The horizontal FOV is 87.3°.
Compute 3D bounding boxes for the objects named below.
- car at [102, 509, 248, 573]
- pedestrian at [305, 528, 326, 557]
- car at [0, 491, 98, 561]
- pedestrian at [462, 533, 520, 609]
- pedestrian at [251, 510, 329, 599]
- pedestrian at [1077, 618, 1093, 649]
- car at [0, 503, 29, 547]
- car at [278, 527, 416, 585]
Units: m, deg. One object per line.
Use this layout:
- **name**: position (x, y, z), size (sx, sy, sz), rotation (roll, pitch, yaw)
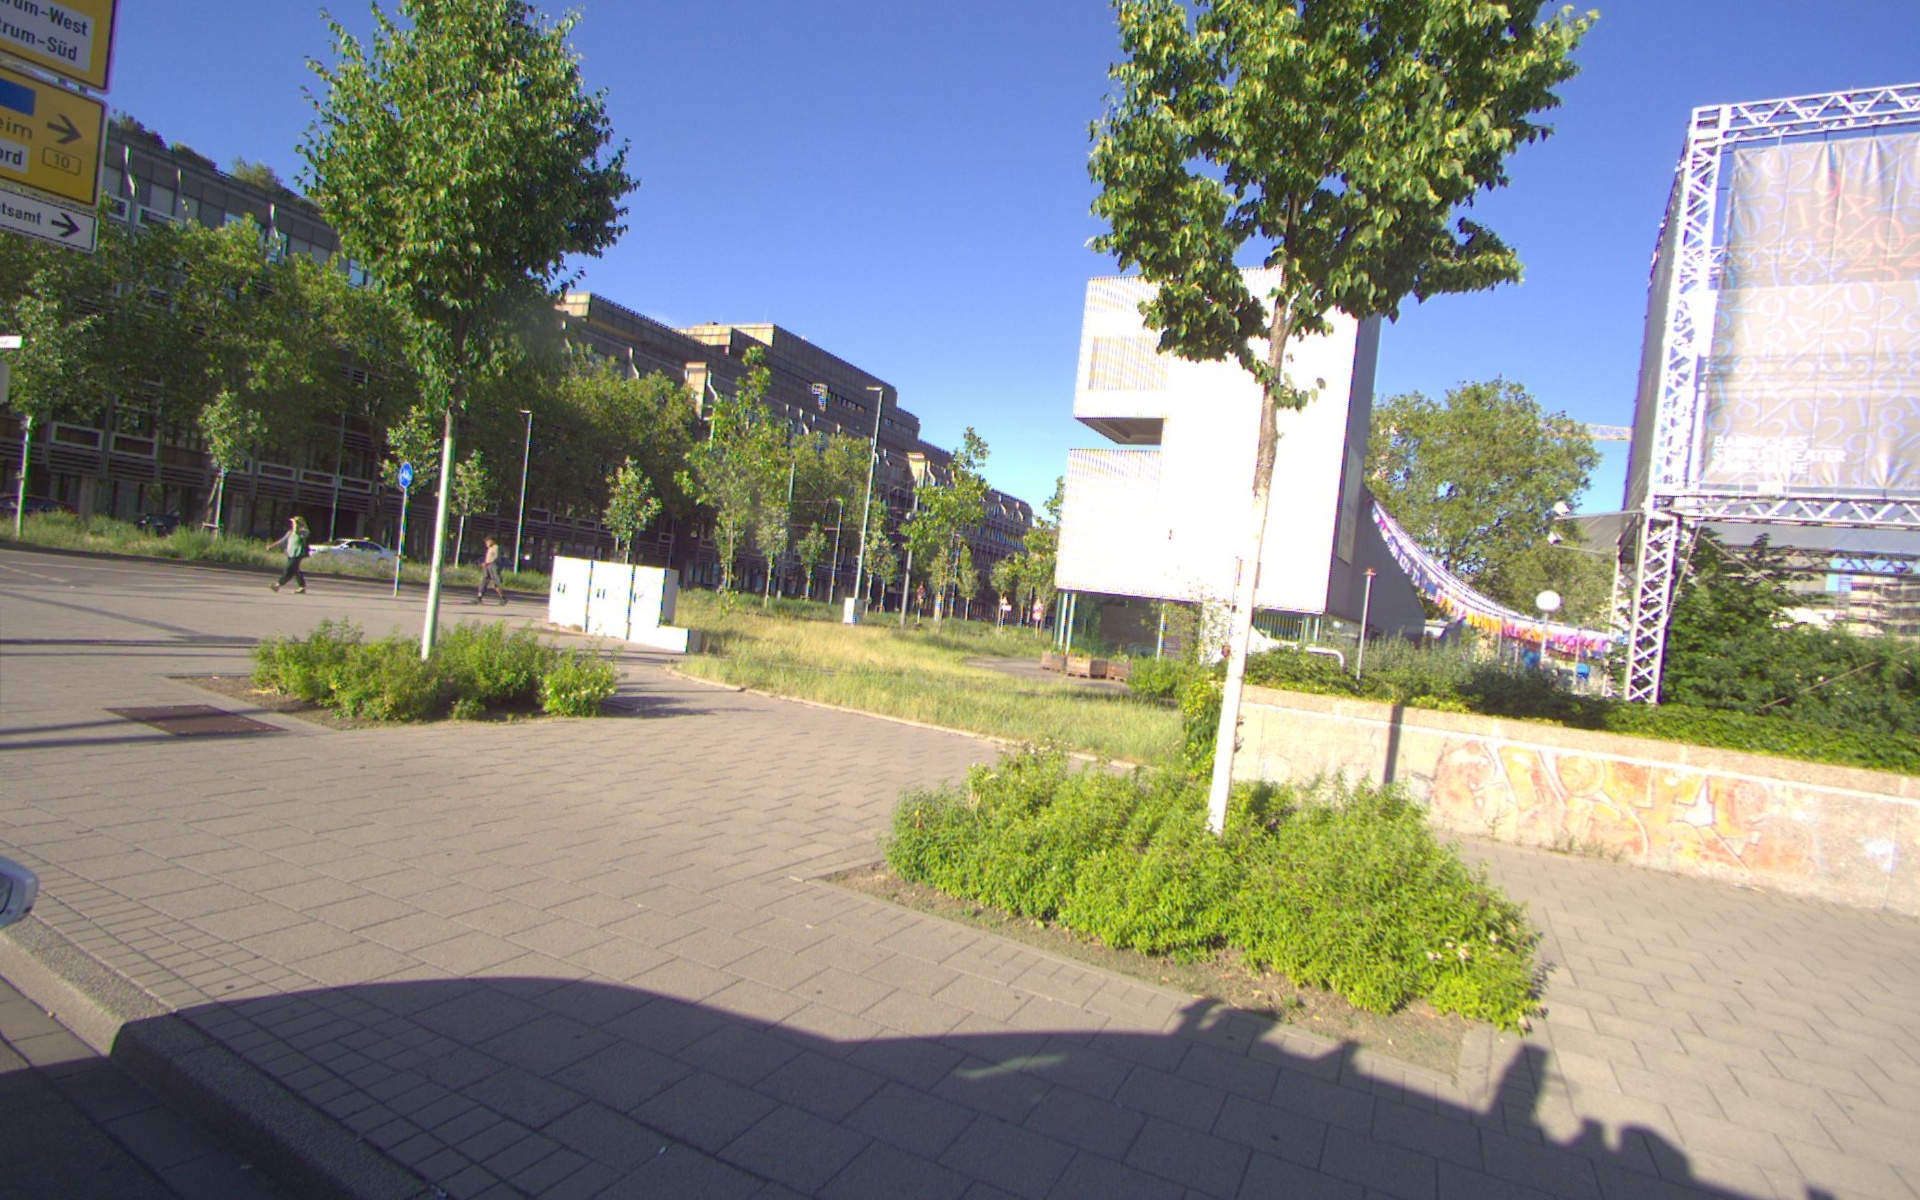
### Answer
- **car**: position (-34.117, -2.529, 43.880), size (1.965, 2.036, 4.458), rotation (7, -2, 27)
- **pedestrian**: position (-39.511, -3.512, 61.702), size (0.728, 1.678, 0.665), rotation (7, 1, 25)
- **car**: position (-33.319, -2.711, 35.373), size (1.966, 2.036, 3.997), rotation (6, -2, 29)
- **pedestrian**: position (-11.605, -0.719, 24.900), size (0.925, 1.750, 0.695), rotation (7, 1, 18)
- **pedestrian**: position (-13.720, -0.922, 20.625), size (0.925, 1.650, 0.803), rotation (7, 1, 18)
- **pedestrian**: position (7.306, 1.961, 58.750), size (0.613, 1.750, 0.787), rotation (7, 1, 17)
- **car**: position (-37.249, -3.043, 36.943), size (1.836, 1.525, 3.997), rotation (7, -2, 29)
- **car**: position (-30.682, -2.181, 50.584), size (2.062, 2.036, 5.455), rotation (6, -2, 29)
